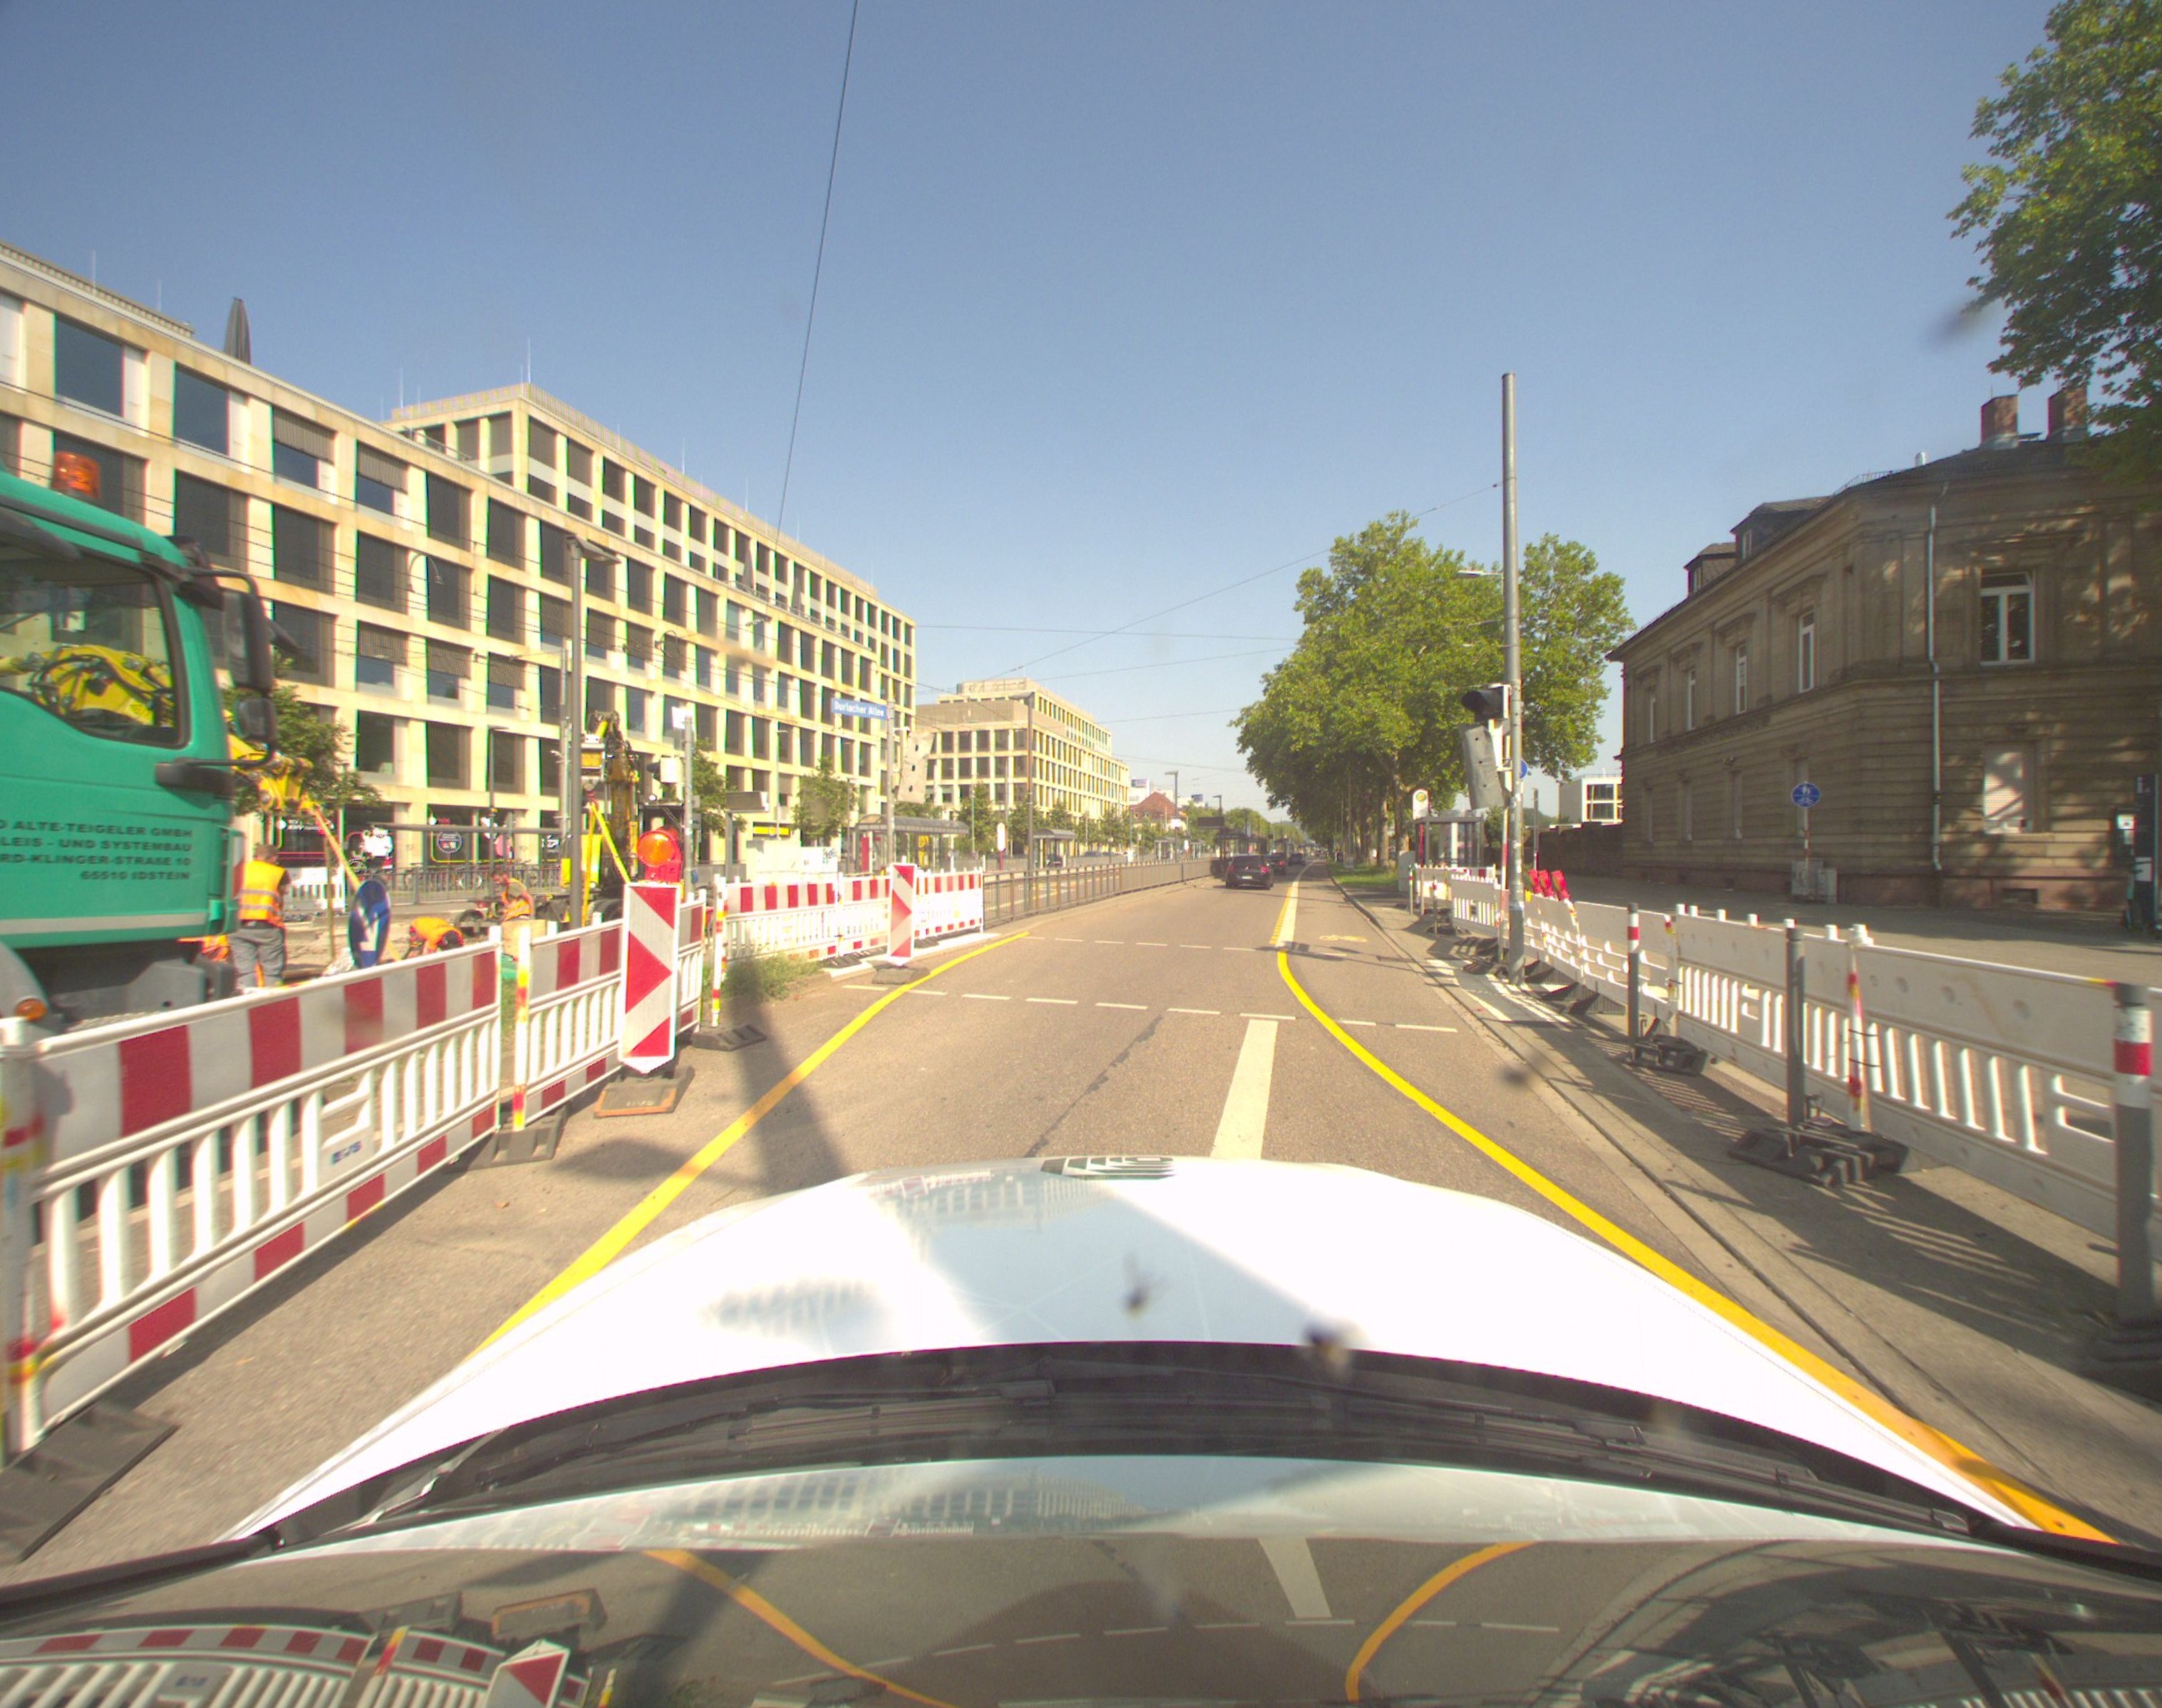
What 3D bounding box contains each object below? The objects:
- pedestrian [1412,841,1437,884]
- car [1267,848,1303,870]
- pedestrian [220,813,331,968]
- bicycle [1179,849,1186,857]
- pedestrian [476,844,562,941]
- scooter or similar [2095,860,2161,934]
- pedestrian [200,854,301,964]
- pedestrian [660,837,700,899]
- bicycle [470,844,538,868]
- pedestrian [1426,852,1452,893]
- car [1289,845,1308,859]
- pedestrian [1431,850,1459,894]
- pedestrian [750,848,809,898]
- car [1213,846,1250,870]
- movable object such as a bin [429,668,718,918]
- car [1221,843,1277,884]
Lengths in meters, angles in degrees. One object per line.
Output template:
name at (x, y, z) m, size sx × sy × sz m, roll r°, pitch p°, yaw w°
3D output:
pedestrian at (13.141, 0.303, 31.182) m, size 0.873 × 1.625 × 0.827 m, roll 0°, pitch 1°, yaw 22°
car at (13.557, 0.306, 54.069) m, size 1.977 × 1.441 × 4.019 m, roll 0°, pitch 0°, yaw 19°
pedestrian at (-8.160, 0.338, 8.251) m, size 0.733 × 1.479 × 0.707 m, roll 0°, pitch 1°, yaw 38°
bicycle at (14.992, -0.173, 120.739) m, size 0.466 × 1.147 × 1.493 m, roll 0°, pitch 0°, yaw 31°
pedestrian at (-8.179, 0.529, 11.863) m, size 0.694 × 1.335 × 0.842 m, roll 0°, pitch 1°, yaw 37°
scooter or similar at (17.828, 0.703, 13.700) m, size 0.405 × 1.166 × 1.232 m, roll 0°, pitch 0°, yaw 21°
pedestrian at (-9.454, 0.596, 9.276) m, size 0.694 × 1.177 × 0.706 m, roll 0°, pitch 1°, yaw 37°
pedestrian at (-7.757, 0.254, 15.750) m, size 0.590 × 1.155 × 0.696 m, roll -1°, pitch 1°, yaw -34°
bicycle at (-23.944, 0.087, 33.820) m, size 2.412 × 0.967 × 0.949 m, roll 0°, pitch 1°, yaw 14°
pedestrian at (10.928, 0.547, 24.861) m, size 0.604 × 1.218 × 0.576 m, roll -2°, pitch 0°, yaw 14°
car at (23.799, -0.241, 89.123) m, size 1.893 × 1.537 × 4.017 m, roll 0°, pitch 0°, yaw 16°
pedestrian at (10.735, 0.528, 24.066) m, size 0.604 × 1.277 × 0.762 m, roll -2°, pitch 0°, yaw 14°
pedestrian at (-5.977, 0.358, 16.188) m, size 0.695 × 0.955 × 0.886 m, roll 0°, pitch 1°, yaw 17°
car at (10.319, 0.235, 55.700) m, size 1.978 × 1.559 × 4.018 m, roll 0°, pitch 0°, yaw 17°
movable object such as a bin at (-10.507, -1.154, 17.310) m, size 2.963 × 4.554 × 4.232 m, roll 0°, pitch 1°, yaw 18°
car at (7.048, 0.351, 33.848) m, size 1.893 × 1.537 × 4.017 m, roll 3°, pitch 1°, yaw 16°
